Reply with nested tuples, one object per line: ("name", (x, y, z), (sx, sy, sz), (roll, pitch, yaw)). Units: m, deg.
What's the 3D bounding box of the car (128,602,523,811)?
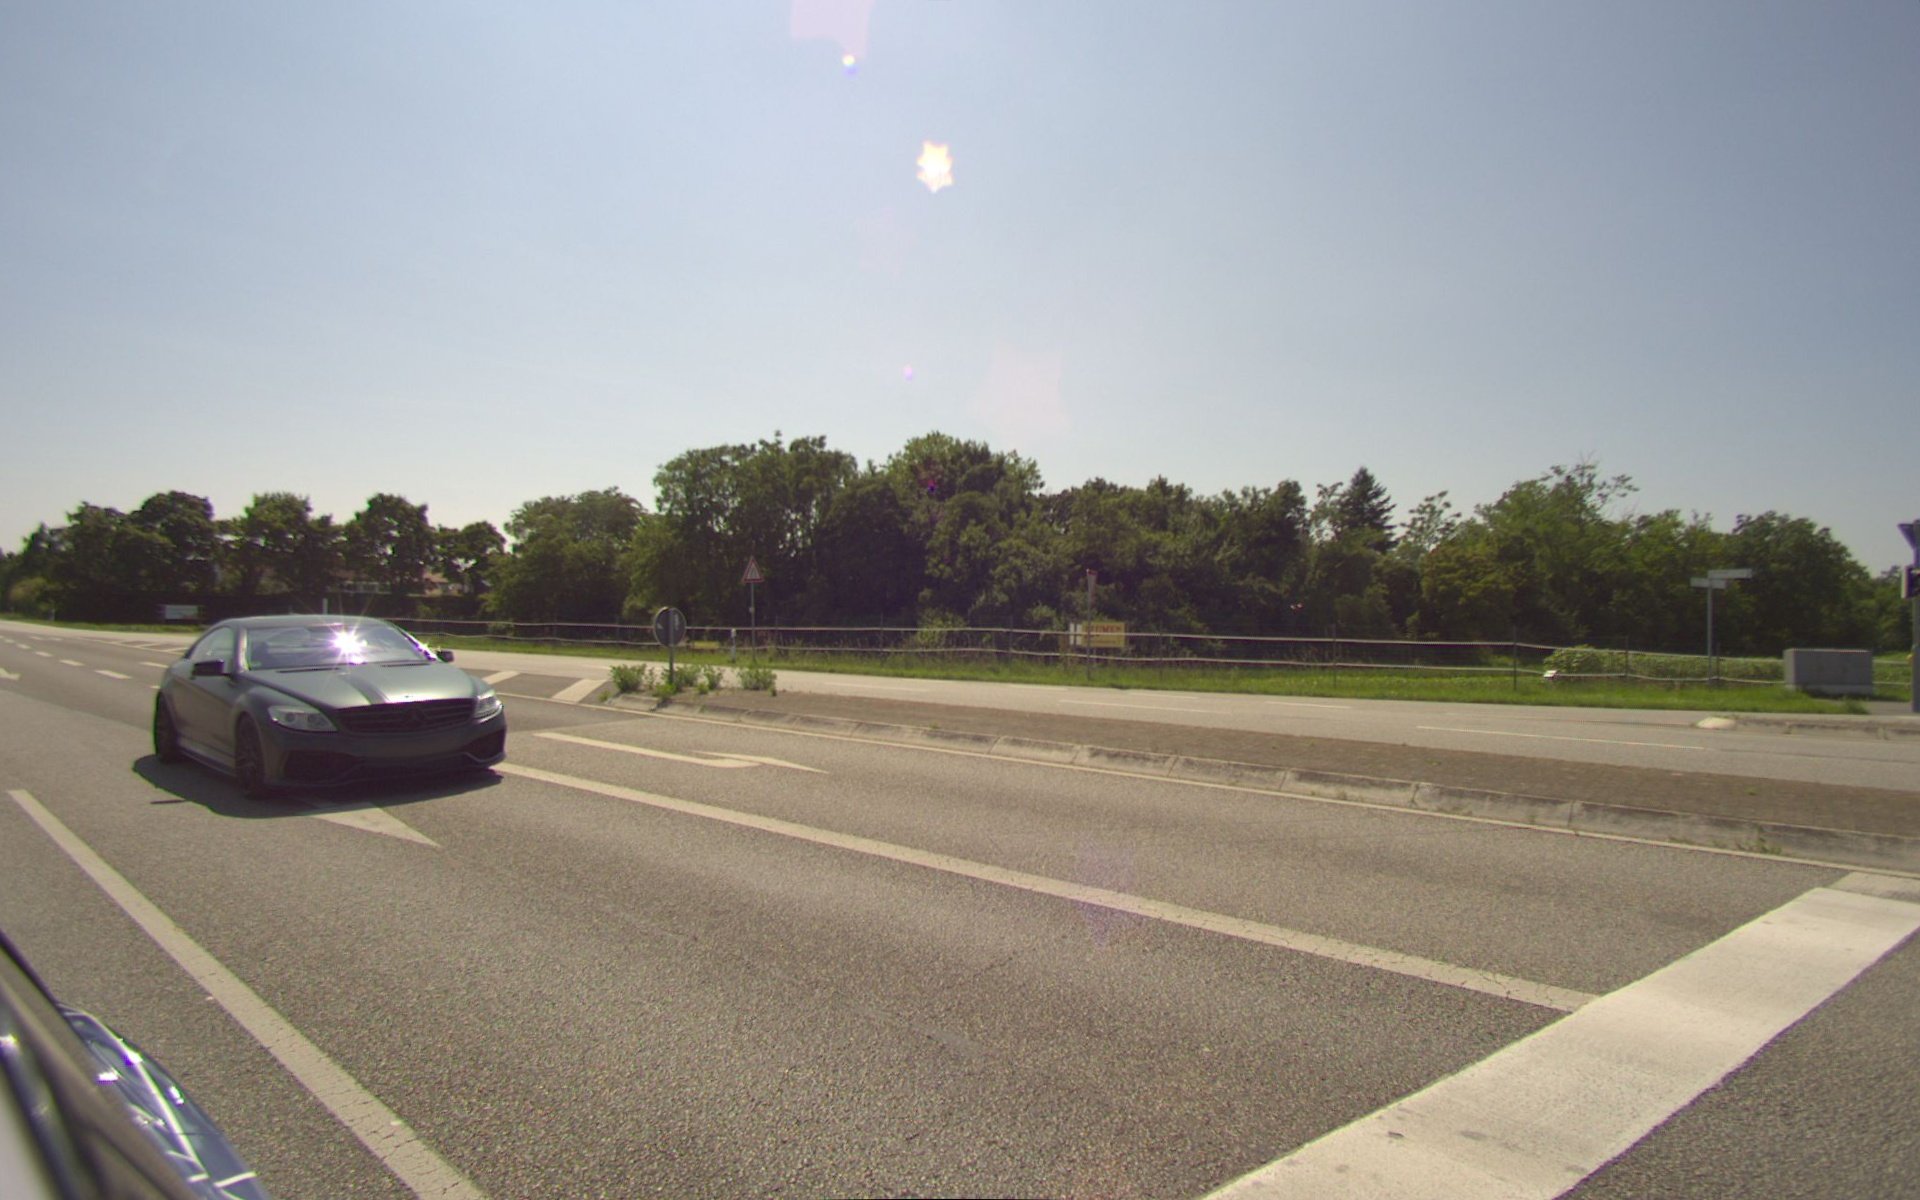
("car", (-6.080, 0.760, 9.411), (4.874, 1.461, 1.792), (0, 0, 41))
